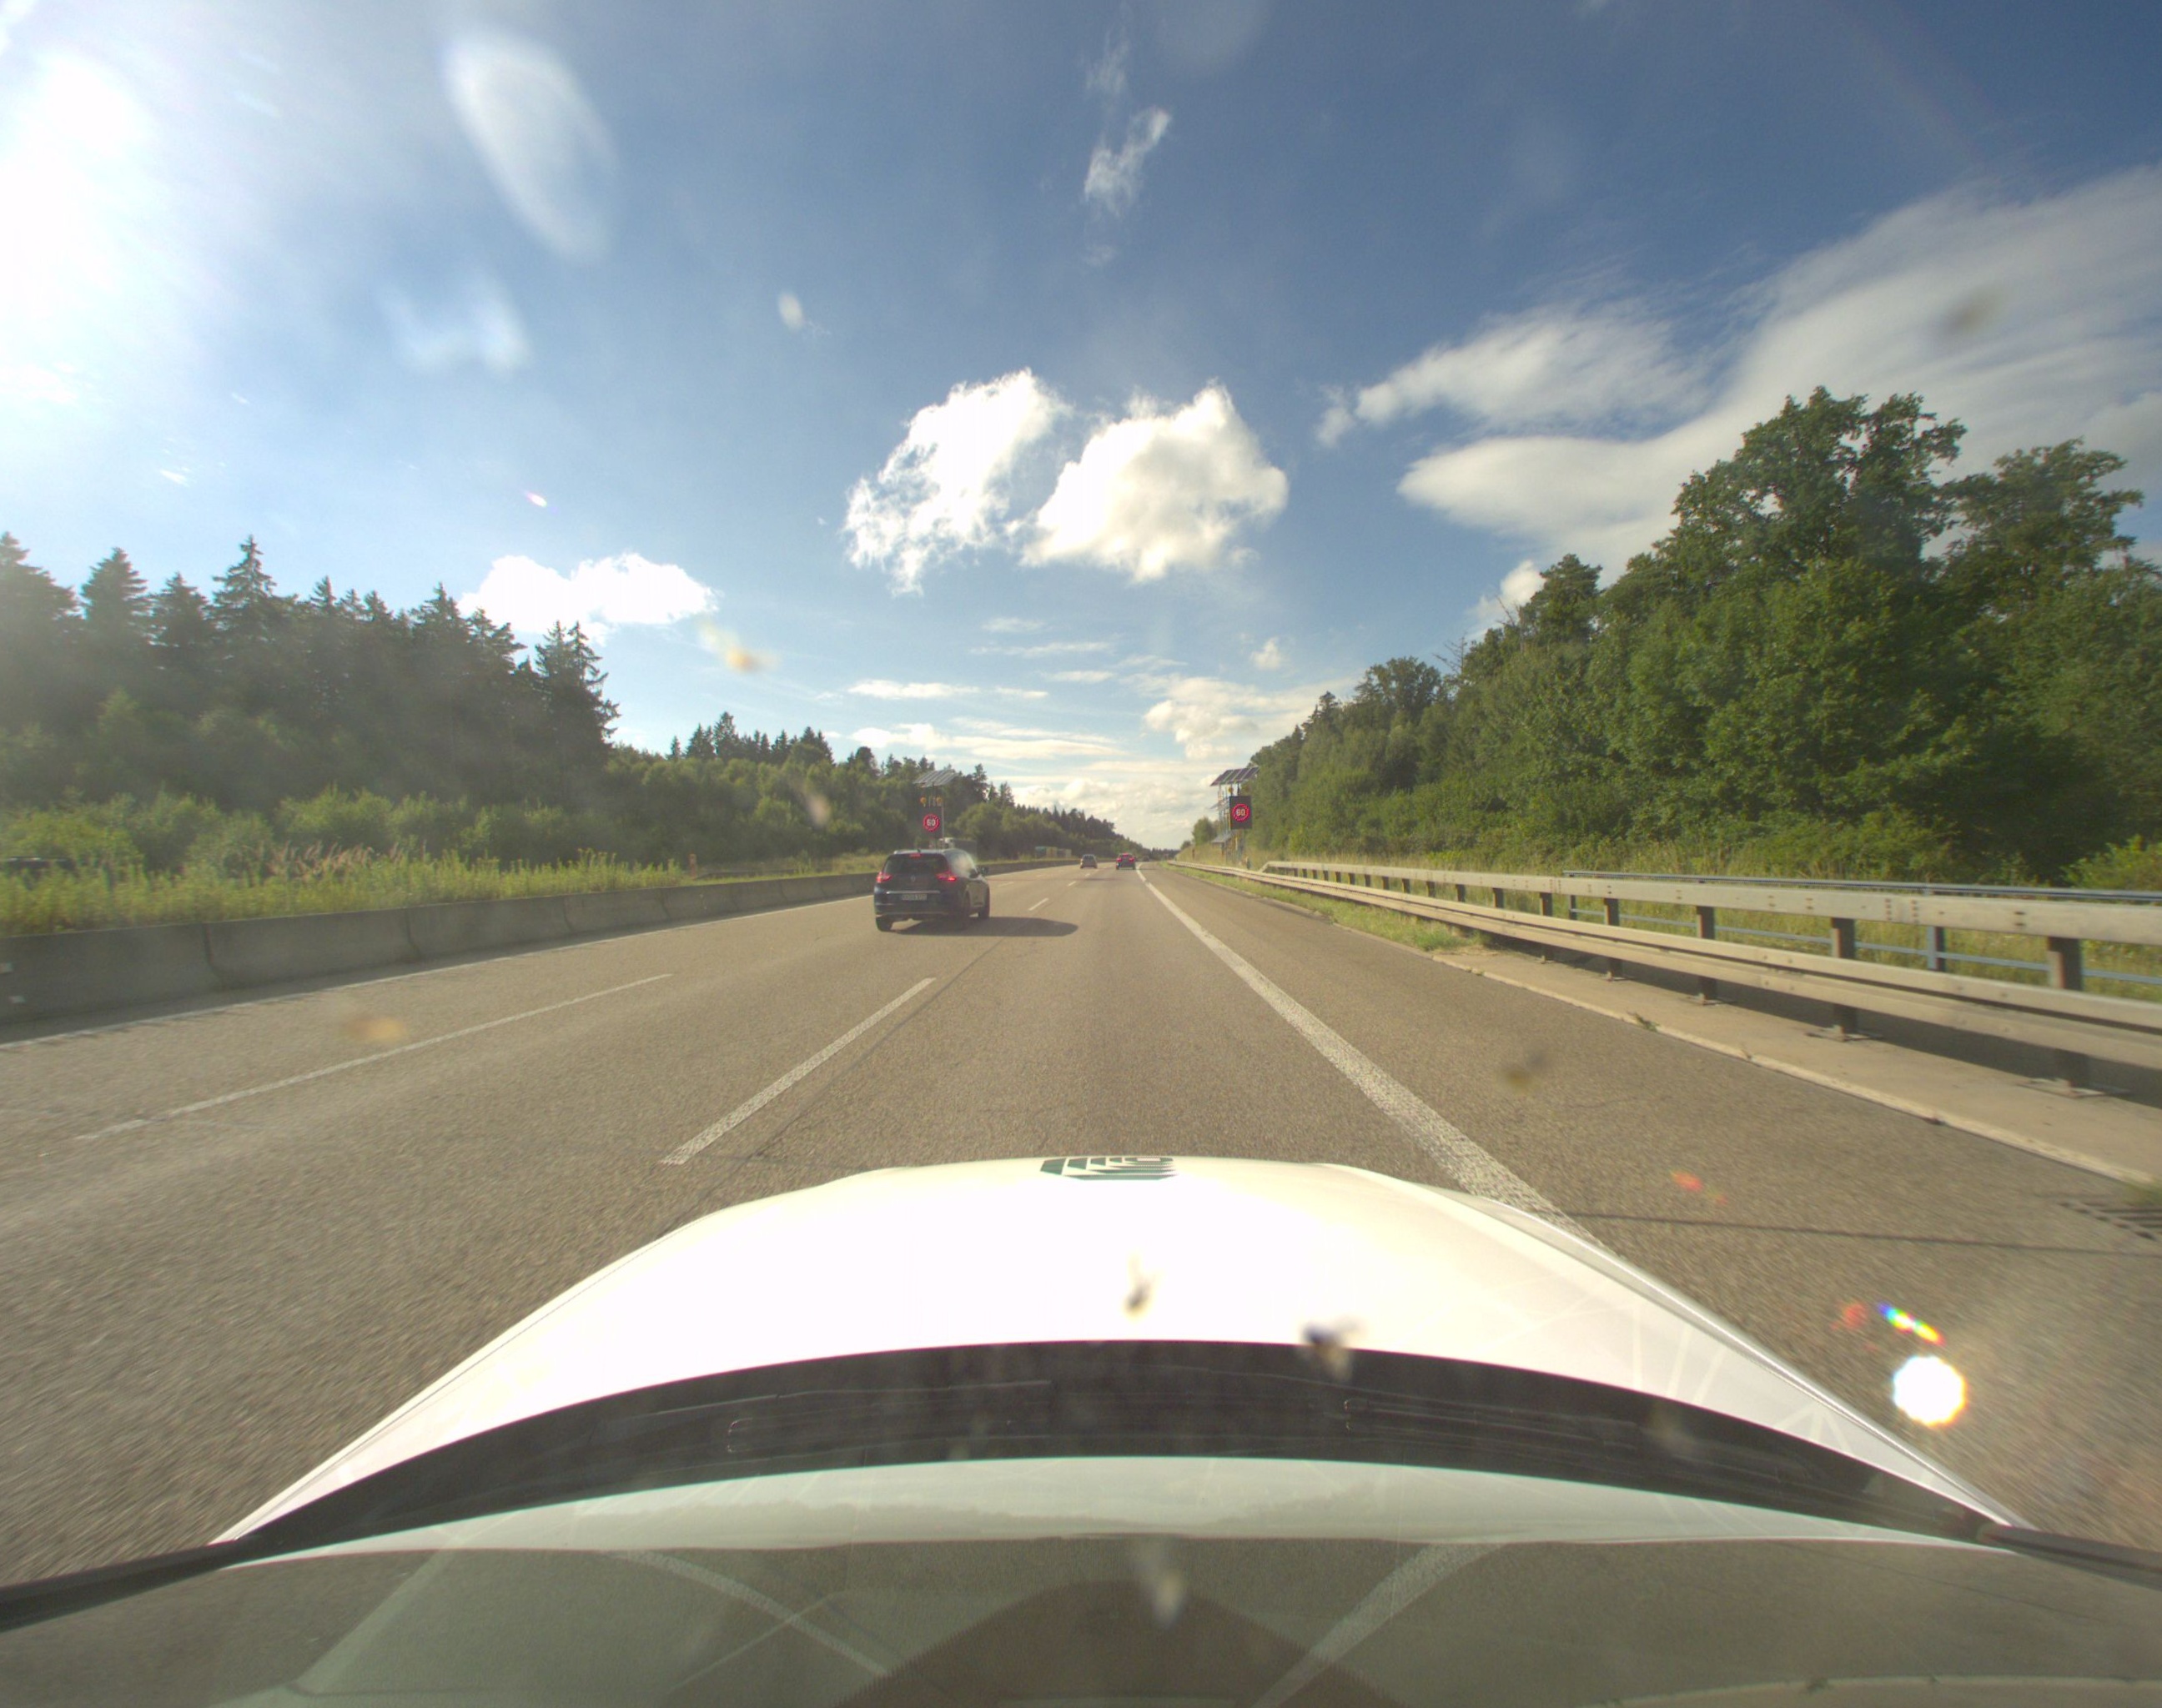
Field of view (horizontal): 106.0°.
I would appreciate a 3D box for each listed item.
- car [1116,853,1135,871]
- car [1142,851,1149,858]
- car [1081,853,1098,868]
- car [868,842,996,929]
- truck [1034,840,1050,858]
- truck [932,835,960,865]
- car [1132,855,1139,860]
[{"bbox_3d":[4.553,0.782,82.444,1.865,1.675,3.894,-1,1,4],"label":"car"},{"bbox_3d":[17.085,0.098,216.344,1.805,1.706,4.003,-1,1,3],"label":"car"},{"bbox_3d":[0.927,0.711,91.593,1.867,1.497,3.881,-1,1,1],"label":"car"},{"bbox_3d":[-3.184,0.614,18.383,1.986,1.707,4.530,0,0,1],"label":"car"},{"bbox_3d":[-9.057,-1.249,190.500,2.636,4.086,6.426,-1,0,6],"label":"truck"},{"bbox_3d":[-17.309,-0.550,104.627,2.269,3.728,5.538,-1,0,4],"label":"truck"},{"bbox_3d":[15.329,0.973,229.374,1.864,1.497,3.887,-1,1,7],"label":"car"}]
